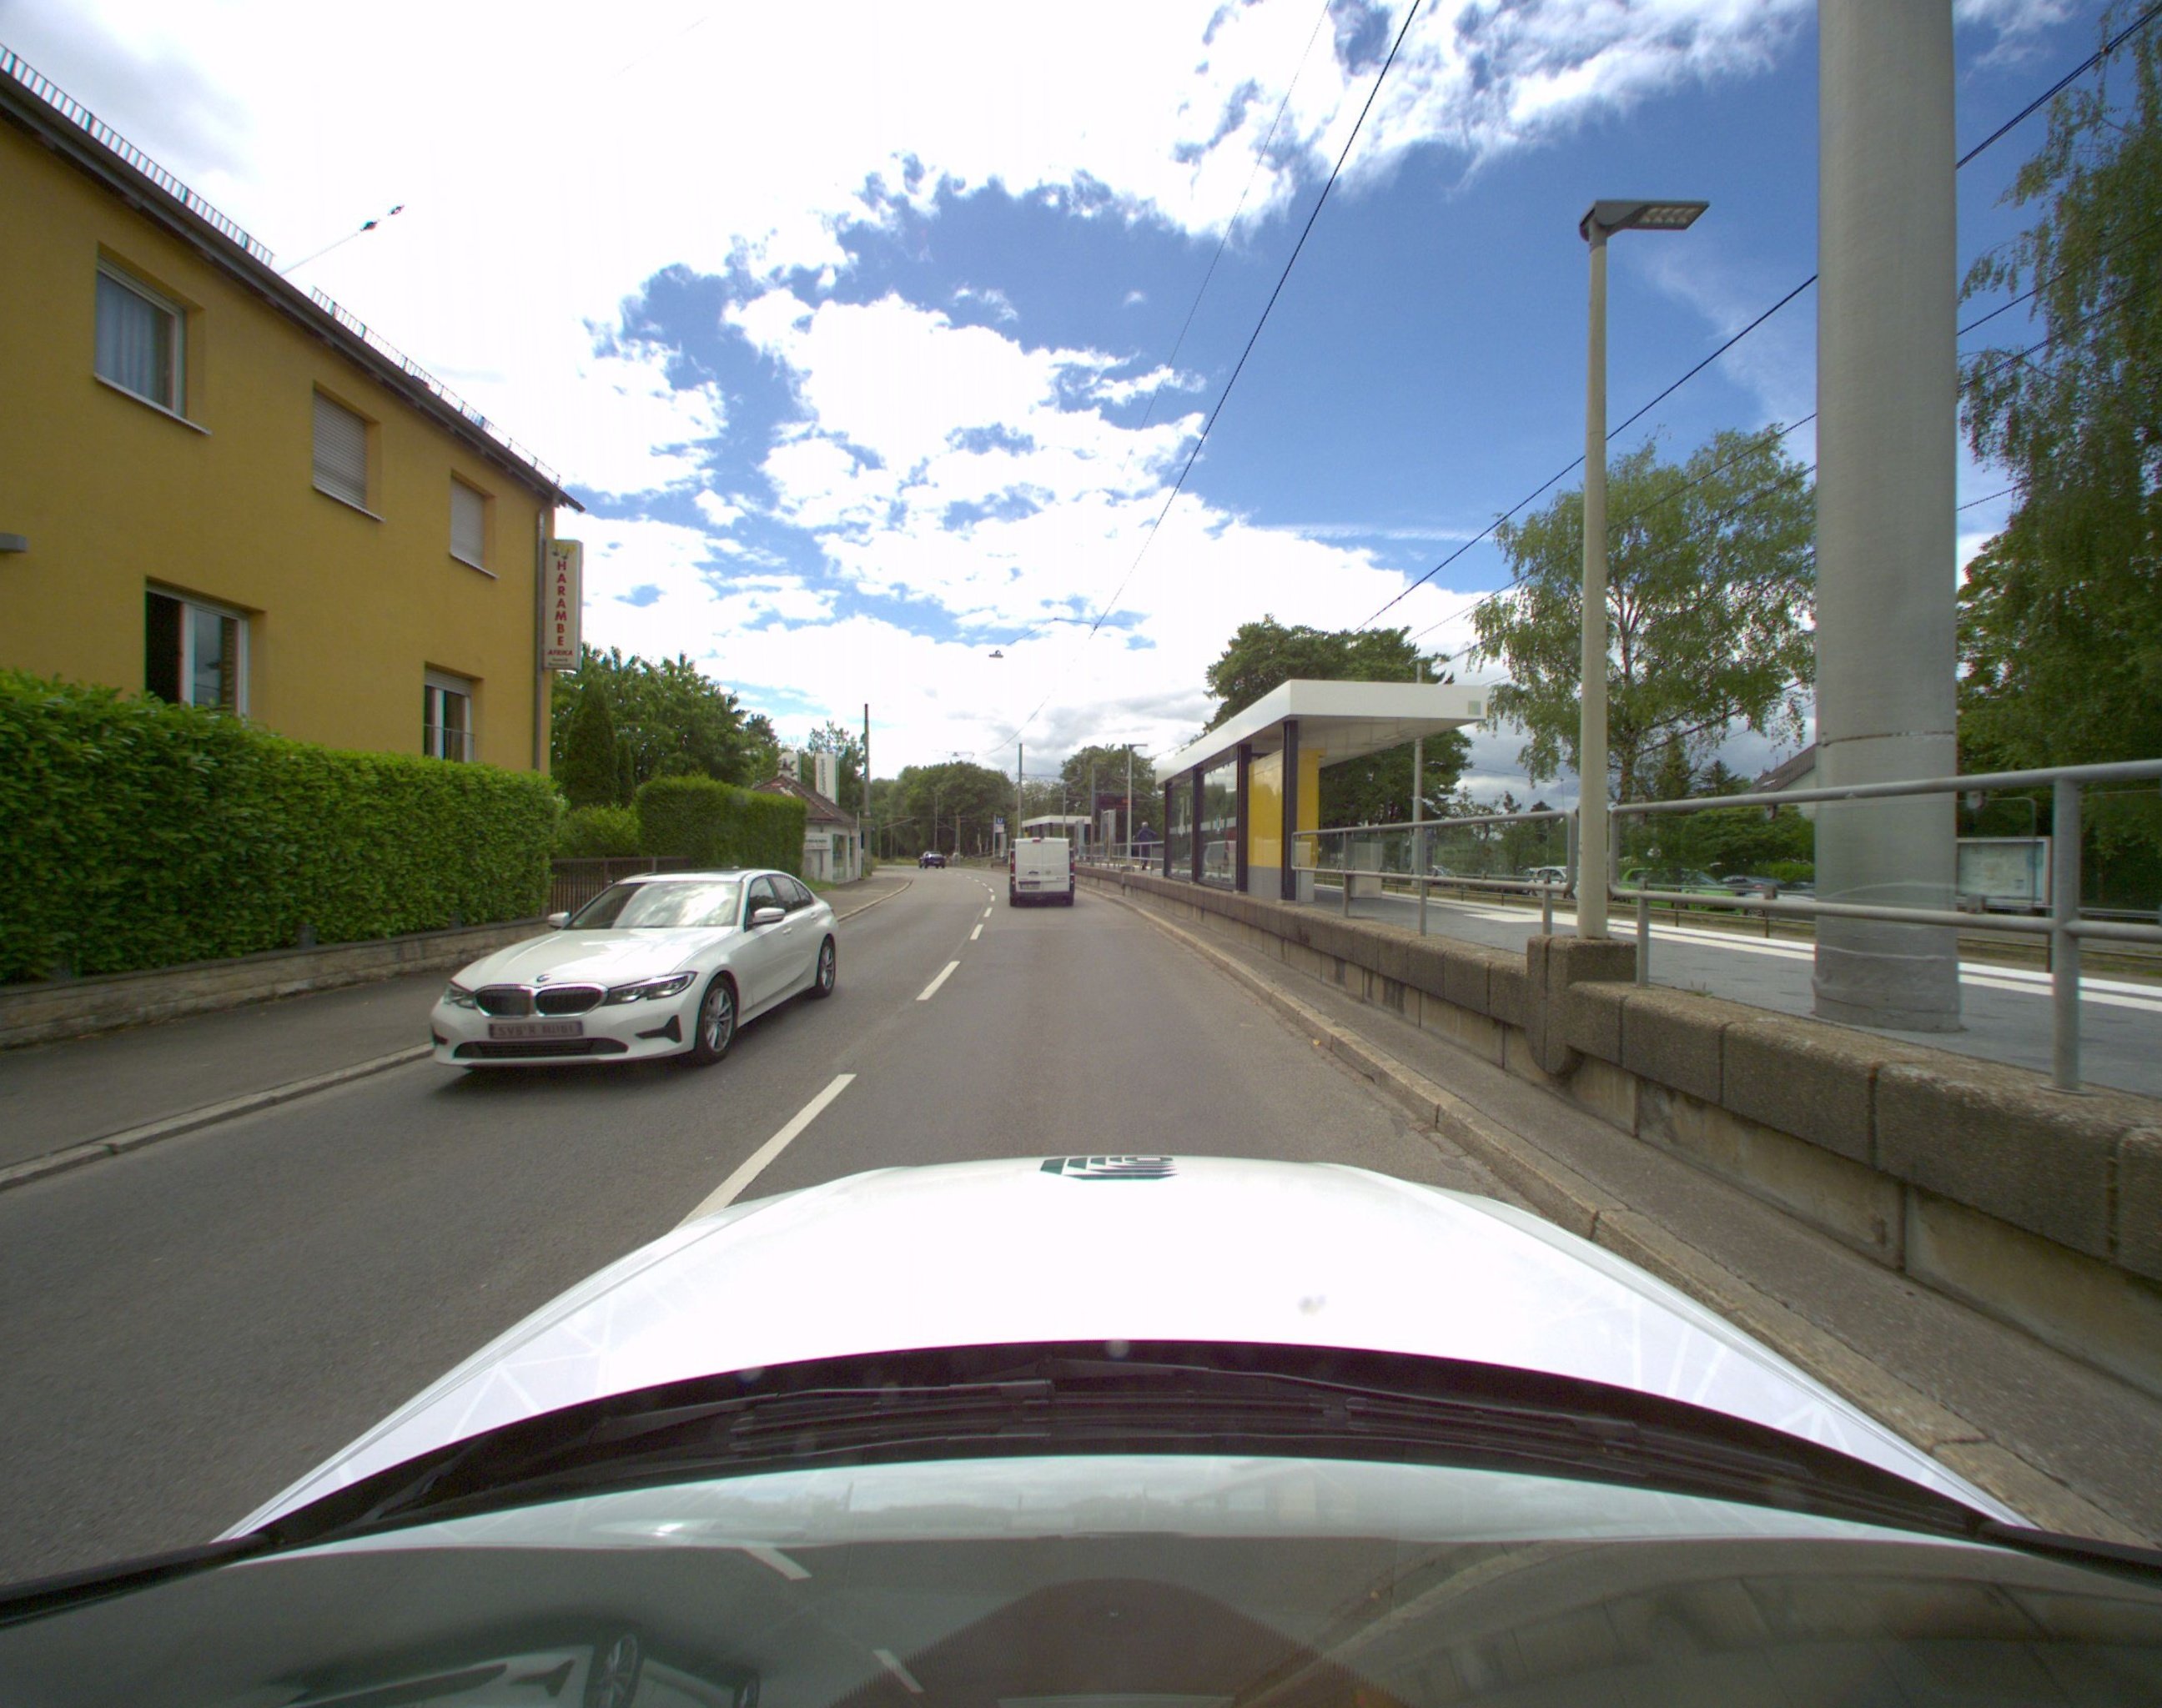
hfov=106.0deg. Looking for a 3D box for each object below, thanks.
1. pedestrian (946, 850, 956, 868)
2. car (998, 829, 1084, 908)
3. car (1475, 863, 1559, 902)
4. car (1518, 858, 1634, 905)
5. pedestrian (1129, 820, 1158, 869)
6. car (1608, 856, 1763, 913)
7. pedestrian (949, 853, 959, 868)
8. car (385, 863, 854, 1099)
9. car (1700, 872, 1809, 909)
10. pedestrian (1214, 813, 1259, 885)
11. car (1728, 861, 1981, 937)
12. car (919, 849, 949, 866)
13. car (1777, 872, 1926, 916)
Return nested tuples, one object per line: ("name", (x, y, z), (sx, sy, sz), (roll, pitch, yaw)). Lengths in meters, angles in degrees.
("pedestrian", (-13.445, 0.500, 84.090), (0.764, 1.795, 0.623), (1, -1, -39))
("car", (-1.363, 0.399, 25.096), (2.116, 2.134, 5.425), (2, 0, -8))
("car", (18.502, 1.179, 34.765), (1.829, 1.488, 4.514), (1, 0, 10))
("car", (18.148, 0.975, 30.114), (1.751, 1.574, 4.098), (1, 0, -1))
("pedestrian", (2.188, -0.320, 28.658), (0.884, 1.671, 0.908), (1, 0, -5))
("car", (18.229, 0.850, 24.813), (1.725, 1.574, 3.998), (1, 0, -1))
("pedestrian", (-12.888, 0.643, 82.741), (0.764, 1.492, 0.623), (0, -1, -39))
("car", (-3.625, 0.848, 7.542), (1.813, 1.419, 4.461), (-2, 0, -1))
("car", (30.125, 1.587, 36.611), (1.745, 1.488, 4.711), (0, -1, 11))
("pedestrian", (2.880, -0.082, 15.120), (0.619, 1.299, 0.718), (1, 0, -6))
("car", (18.317, 0.989, 19.626), (2.057, 1.574, 4.258), (1, 0, -1))
("car", (-14.208, 0.344, 78.573), (2.360, 1.564, 4.348), (2, -1, -16))
("car", (28.951, 1.453, 30.843), (1.745, 1.488, 4.944), (0, -1, 11))
